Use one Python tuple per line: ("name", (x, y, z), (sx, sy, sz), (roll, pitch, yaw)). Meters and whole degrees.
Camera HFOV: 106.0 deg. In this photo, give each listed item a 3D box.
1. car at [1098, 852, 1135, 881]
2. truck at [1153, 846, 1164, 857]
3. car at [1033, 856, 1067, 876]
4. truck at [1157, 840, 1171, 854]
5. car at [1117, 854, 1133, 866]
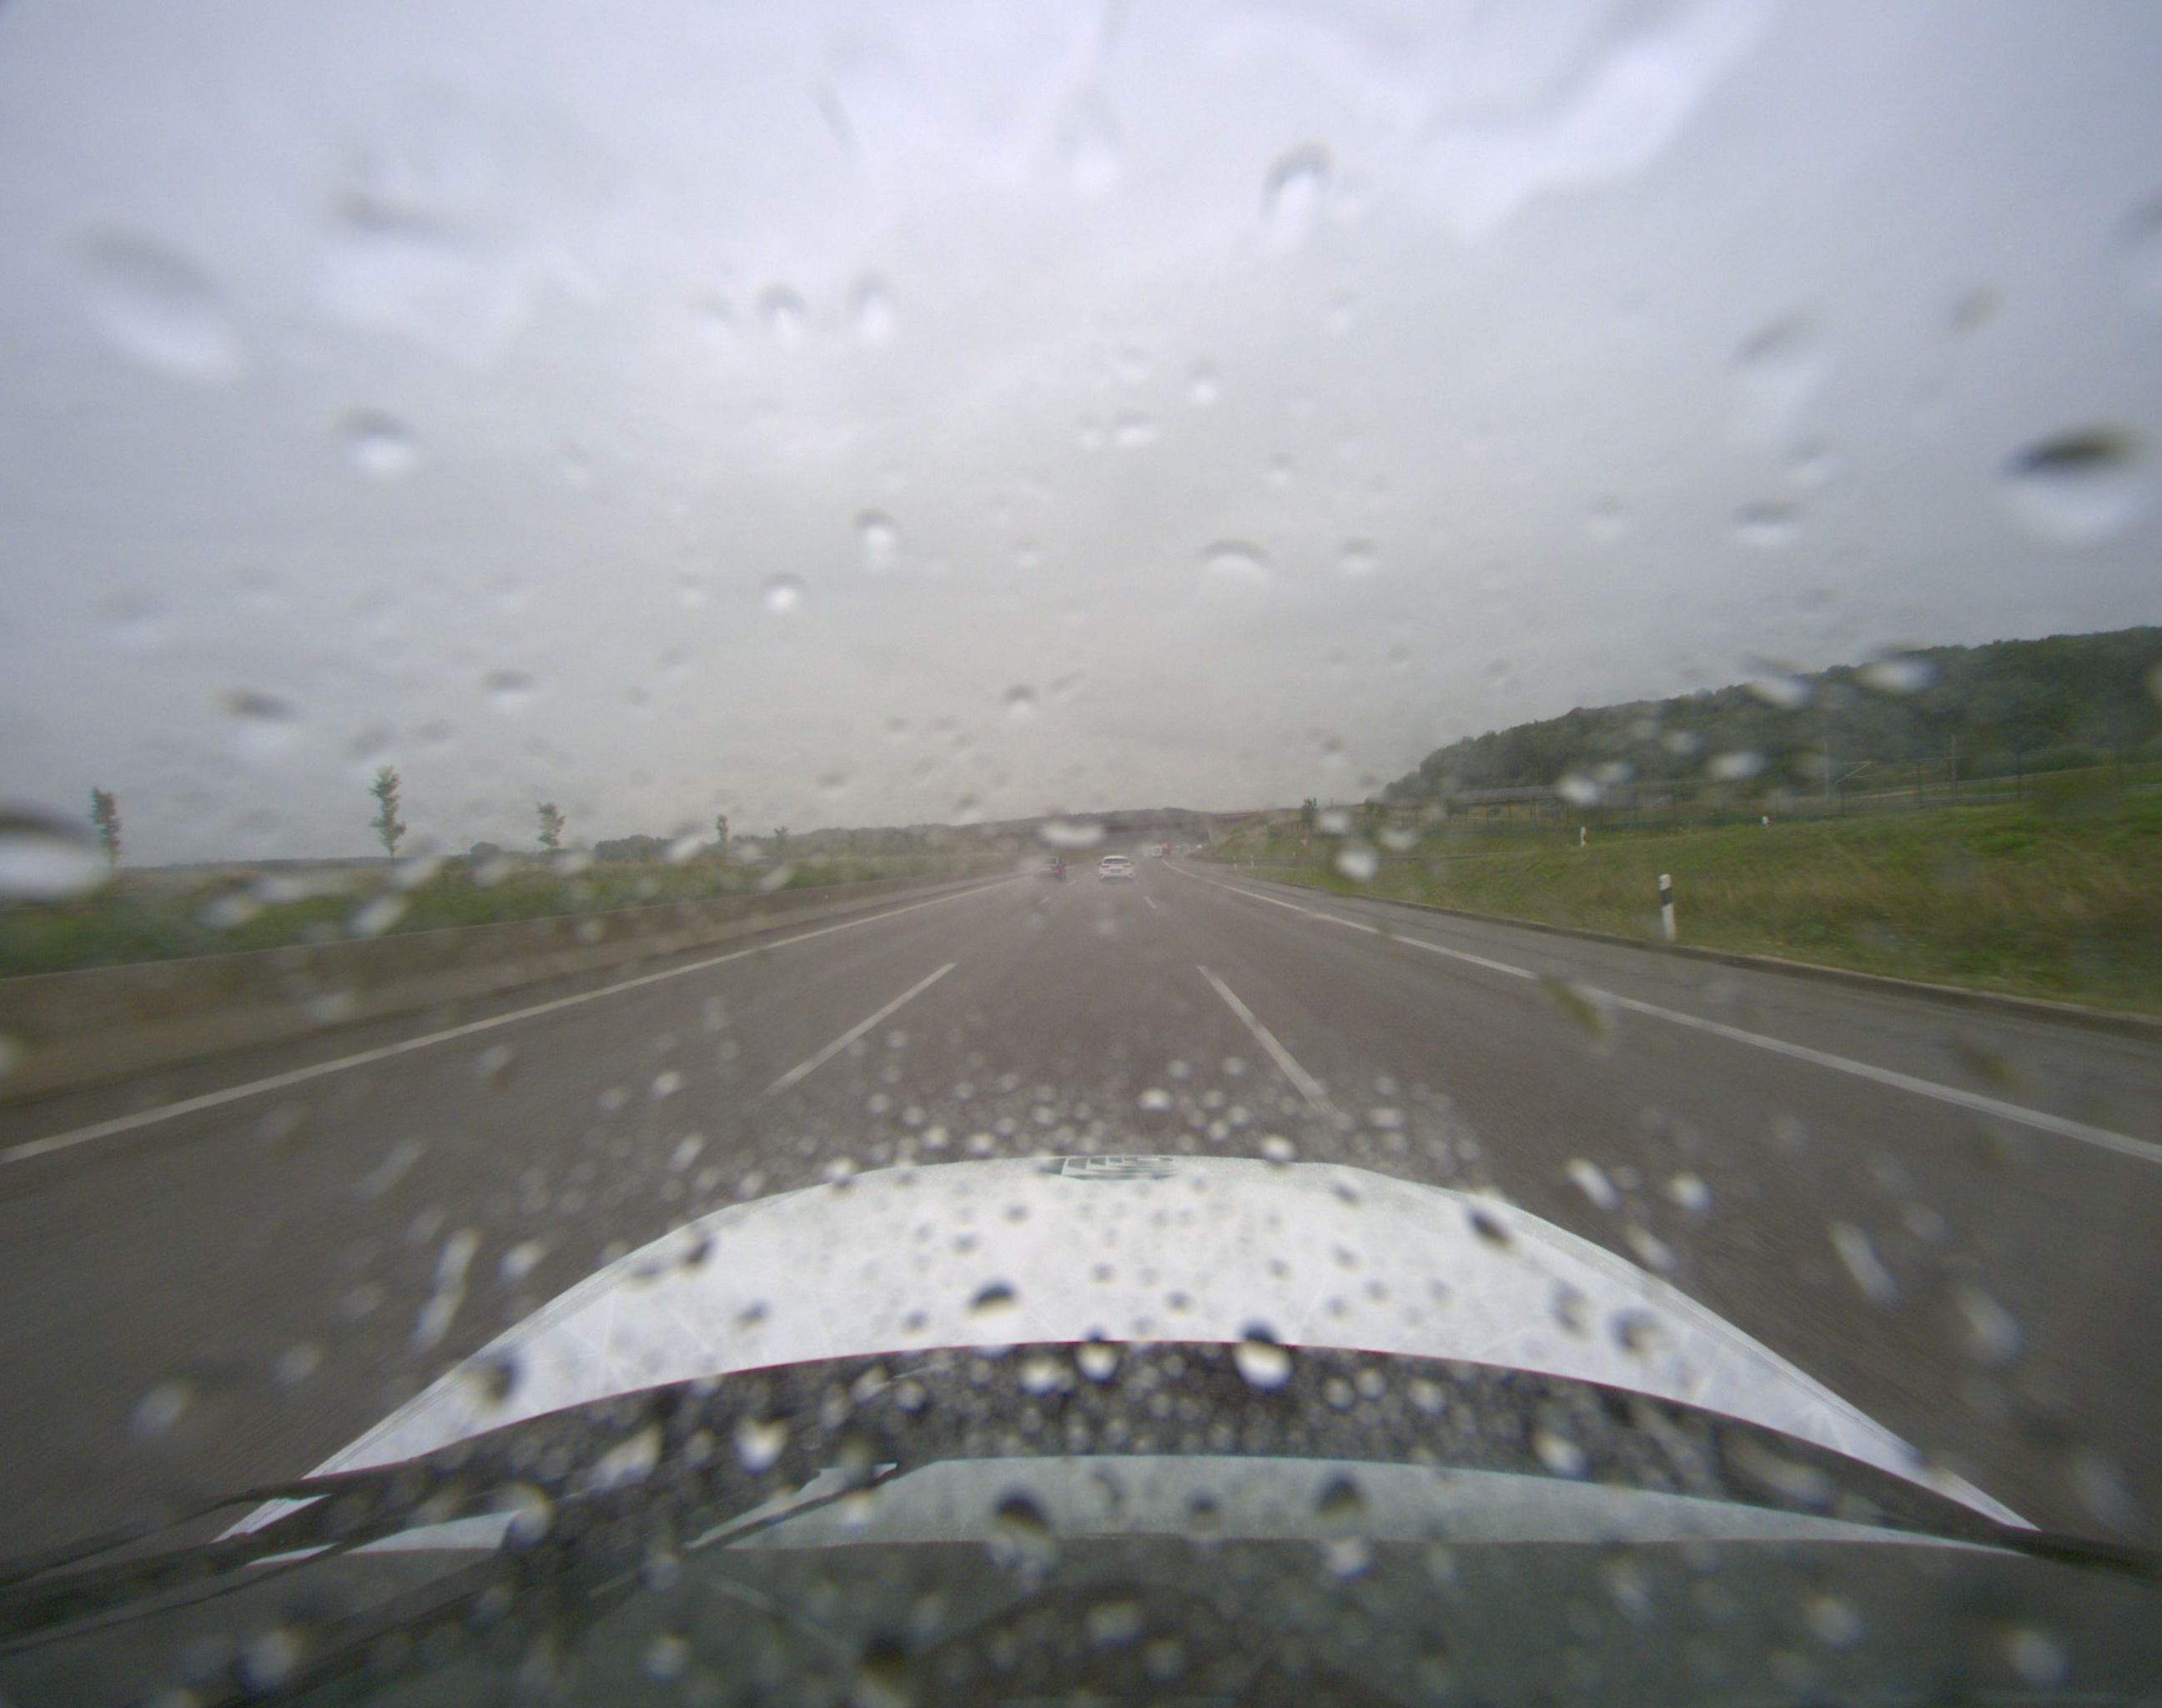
("car", (1.875, 0.674, 43.588), (1.861, 1.463, 4.001), (-1, 0, 2))
("truck", (17.037, -0.570, 178.808), (2.395, 2.252, 4.703), (-1, 0, 7))
("car", (-1.804, 0.731, 48.655), (1.817, 1.156, 4.212), (0, -1, 0))
("truck", (23.533, -1.981, 232.296), (3.512, 3.742, 11.438), (-1, 1, 4))
("car", (5.883, 0.777, 107.863), (1.984, 1.618, 4.005), (-1, 0, 4))
